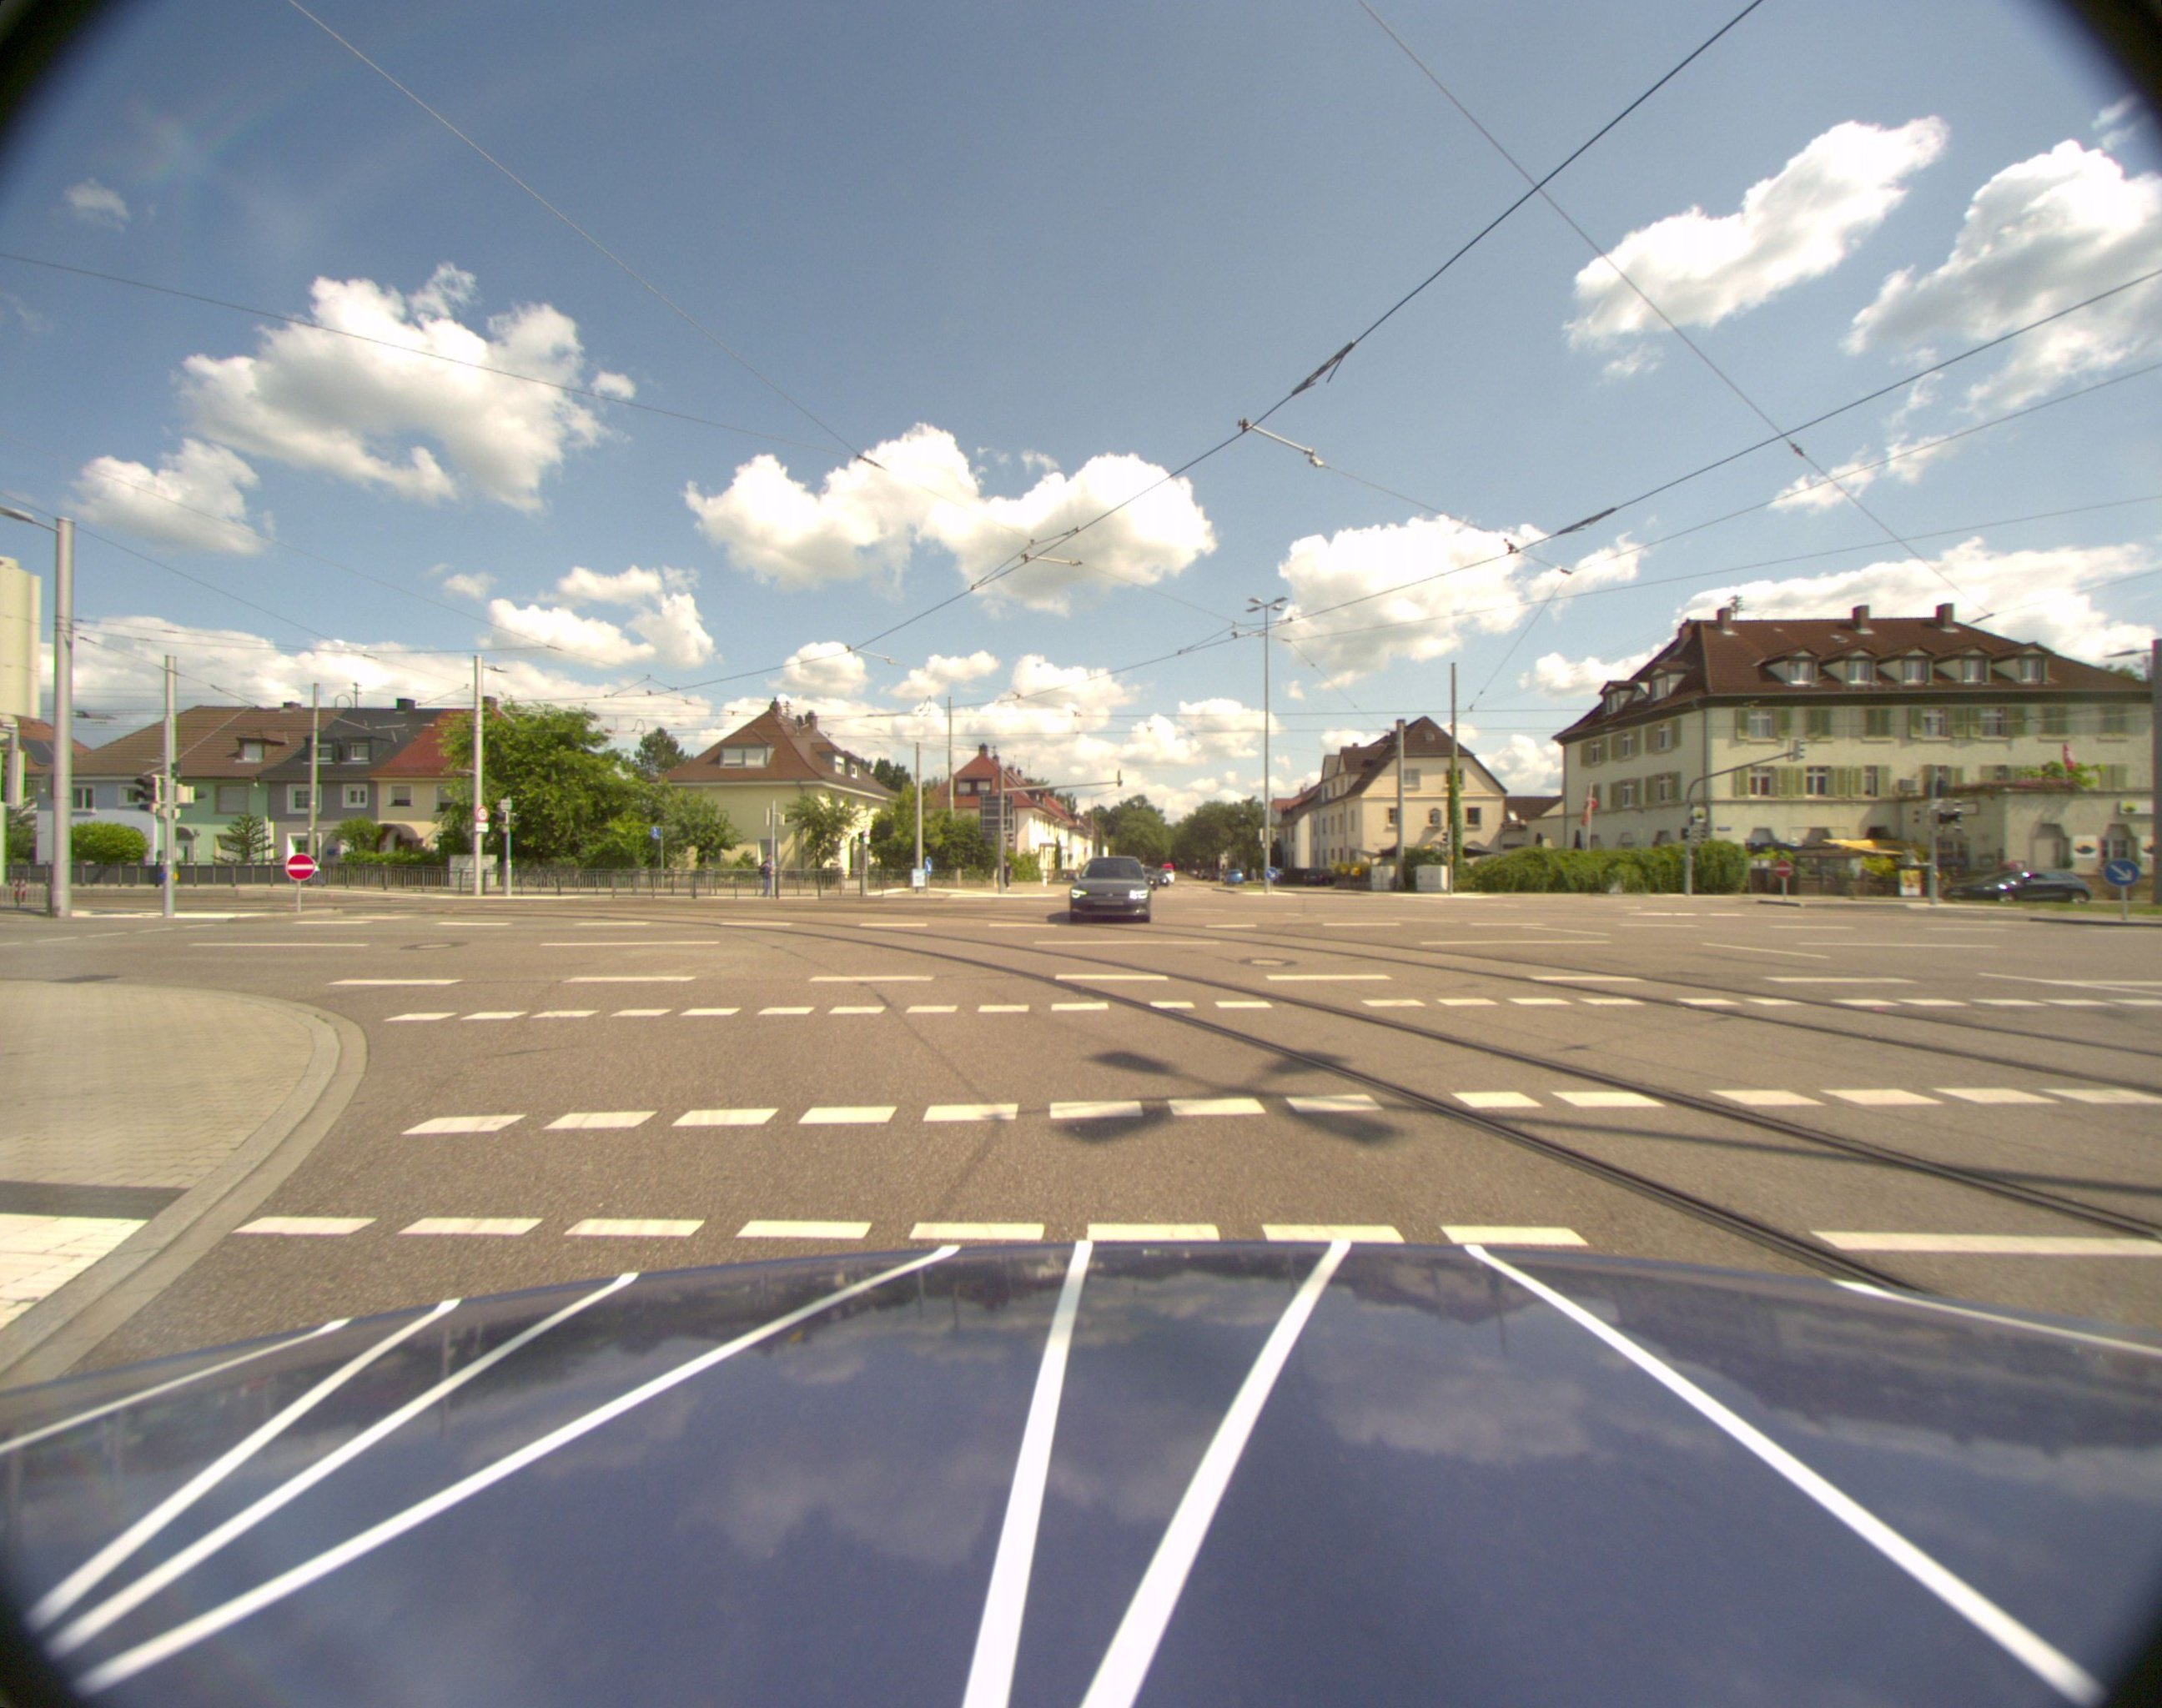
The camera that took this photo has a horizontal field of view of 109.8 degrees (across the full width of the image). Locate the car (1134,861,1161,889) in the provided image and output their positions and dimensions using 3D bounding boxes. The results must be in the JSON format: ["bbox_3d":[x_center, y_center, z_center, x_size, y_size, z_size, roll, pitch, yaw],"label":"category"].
[{"bbox_3d":[4.567,1.423,51.968,1.775,1.754,4.876,0,0,6],"label":"car"}]

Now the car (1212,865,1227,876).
[{"bbox_3d":[16.718,1.978,91.761,1.708,1.288,3.921,0,-1,8],"label":"car"}]

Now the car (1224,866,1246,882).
[{"bbox_3d":[14.919,1.914,73.811,1.709,1.453,3.156,0,-1,5],"label":"car"}]

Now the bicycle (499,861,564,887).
[{"bbox_3d":[-28.071,1.019,38.835,2.800,1.326,0.623,0,0,-2],"label":"bicycle"}]

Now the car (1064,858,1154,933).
[{"bbox_3d":[0.687,0.848,17.230,1.766,1.465,4.689,0,-1,3],"label":"car"}]

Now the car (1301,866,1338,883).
[{"bbox_3d":[19.723,1.677,62.758,1.757,1.378,4.111,0,-1,35],"label":"car"}]

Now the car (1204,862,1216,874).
[{"bbox_3d":[17.880,1.981,105.259,1.561,1.645,3.576,0,-1,8],"label":"car"}]

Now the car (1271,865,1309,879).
[{"bbox_3d":[22.579,1.939,82.199,3.803,1.445,1.712,0,-1,8],"label":"car"}]

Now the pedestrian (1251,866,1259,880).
[{"bbox_3d":[19.278,2.106,84.269,0.632,1.526,0.617,0,0,-9],"label":"pedestrian"}]

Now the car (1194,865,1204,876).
[{"bbox_3d":[18.740,2.575,120.528,1.561,1.645,3.254,0,-1,8],"label":"car"}]

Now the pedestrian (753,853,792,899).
[{"bbox_3d":[-11.822,0.839,29.133,1.032,1.724,1.041,0,-1,1],"label":"pedestrian"}]

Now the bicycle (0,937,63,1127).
[{"bbox_3d":[-7.427,1.080,4.220,2.036,1.095,0.714,0,0,-22],"label":"bicycle"}]

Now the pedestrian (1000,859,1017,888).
[{"bbox_3d":[-4.433,1.182,46.752,0.591,1.757,0.939,1,0,30],"label":"pedestrian"}]

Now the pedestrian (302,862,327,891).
[{"bbox_3d":[-37.702,1.101,37.368,0.514,1.424,0.688,0,0,13],"label":"pedestrian"}]

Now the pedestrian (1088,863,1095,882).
[{"bbox_3d":[0.916,1.618,67.650,0.518,1.701,0.618,0,0,7],"label":"pedestrian"}]

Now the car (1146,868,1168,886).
[{"bbox_3d":[6.293,1.875,63.203,1.709,1.453,3.156,0,-1,5],"label":"car"}]

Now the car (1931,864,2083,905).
[{"bbox_3d":[36.975,1.179,30.415,3.921,1.574,1.747,0,0,1],"label":"car"}]

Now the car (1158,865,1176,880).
[{"bbox_3d":[8.494,1.865,75.369,1.709,1.453,3.156,0,-1,6],"label":"car"}]
